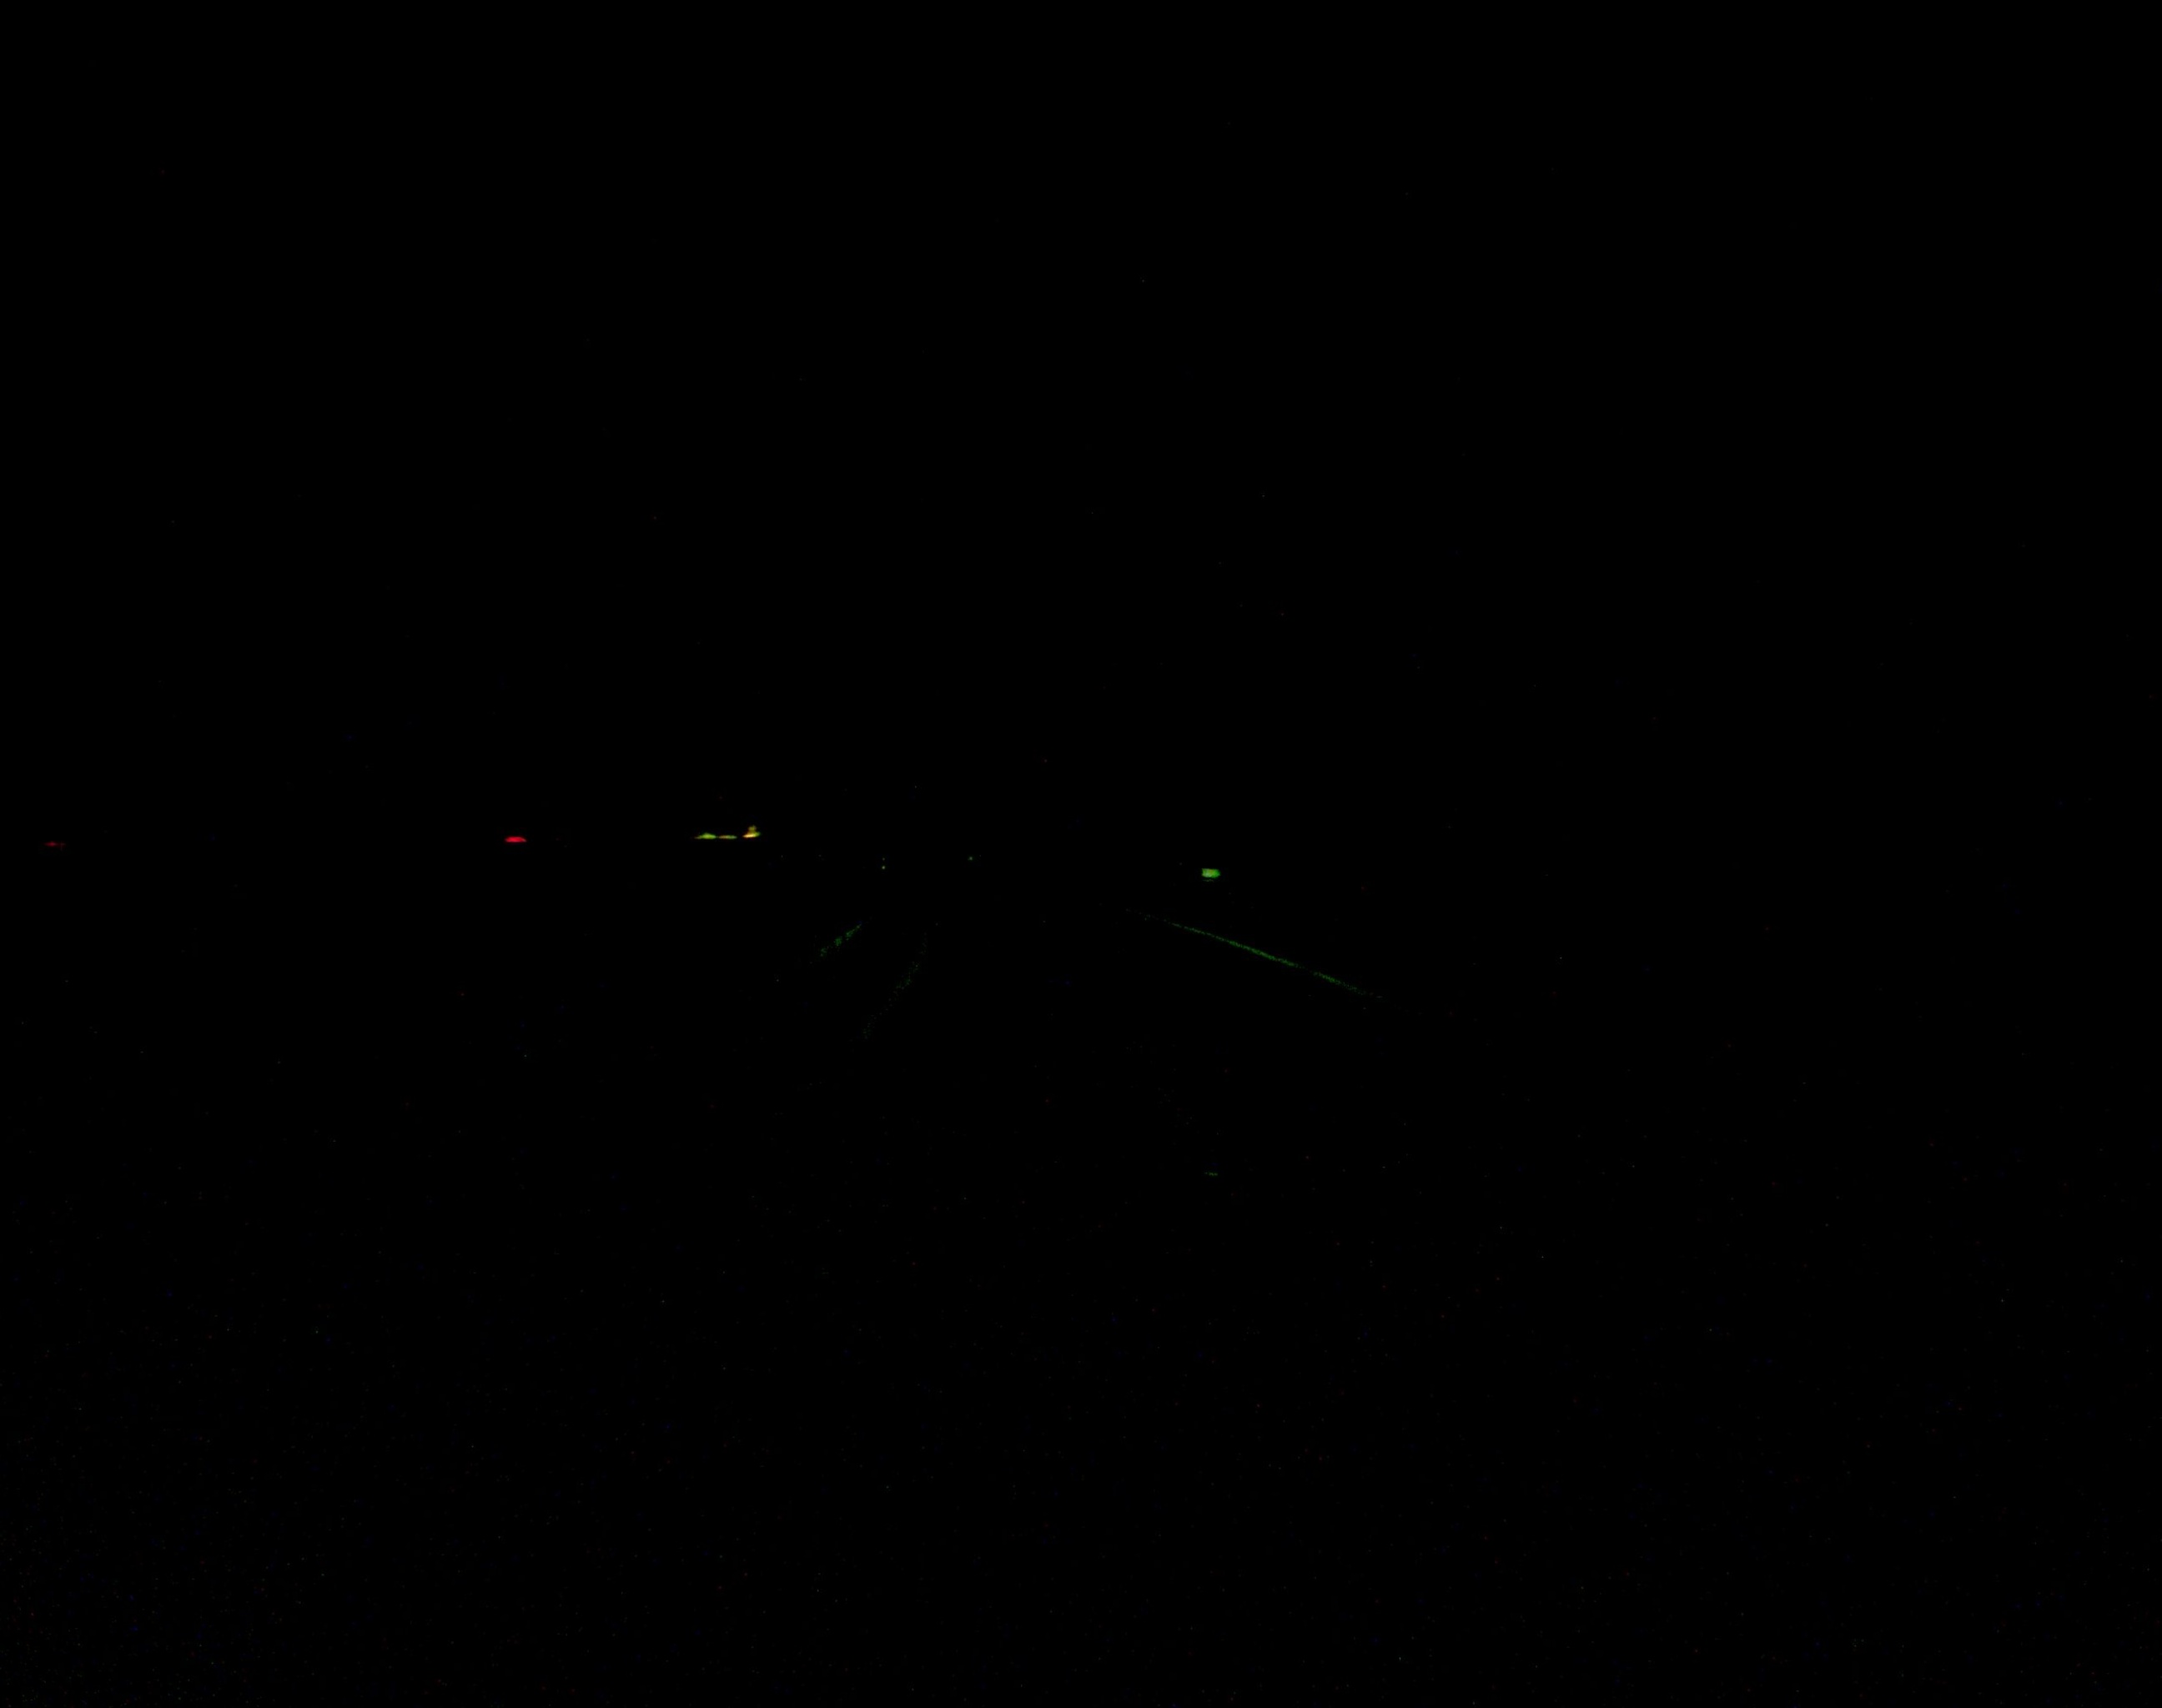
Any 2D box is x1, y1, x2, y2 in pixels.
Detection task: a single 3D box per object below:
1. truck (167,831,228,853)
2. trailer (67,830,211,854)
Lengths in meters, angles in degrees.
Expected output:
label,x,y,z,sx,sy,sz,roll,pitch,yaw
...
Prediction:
label,x,y,z,sx,sy,sz,roll,pitch,yaw
truck,-114.820,-1.503,105.945,2.668,2.690,4.756,2,0,-1
trailer,-114.787,-1.434,99.719,2.679,2.699,12.854,2,1,0
